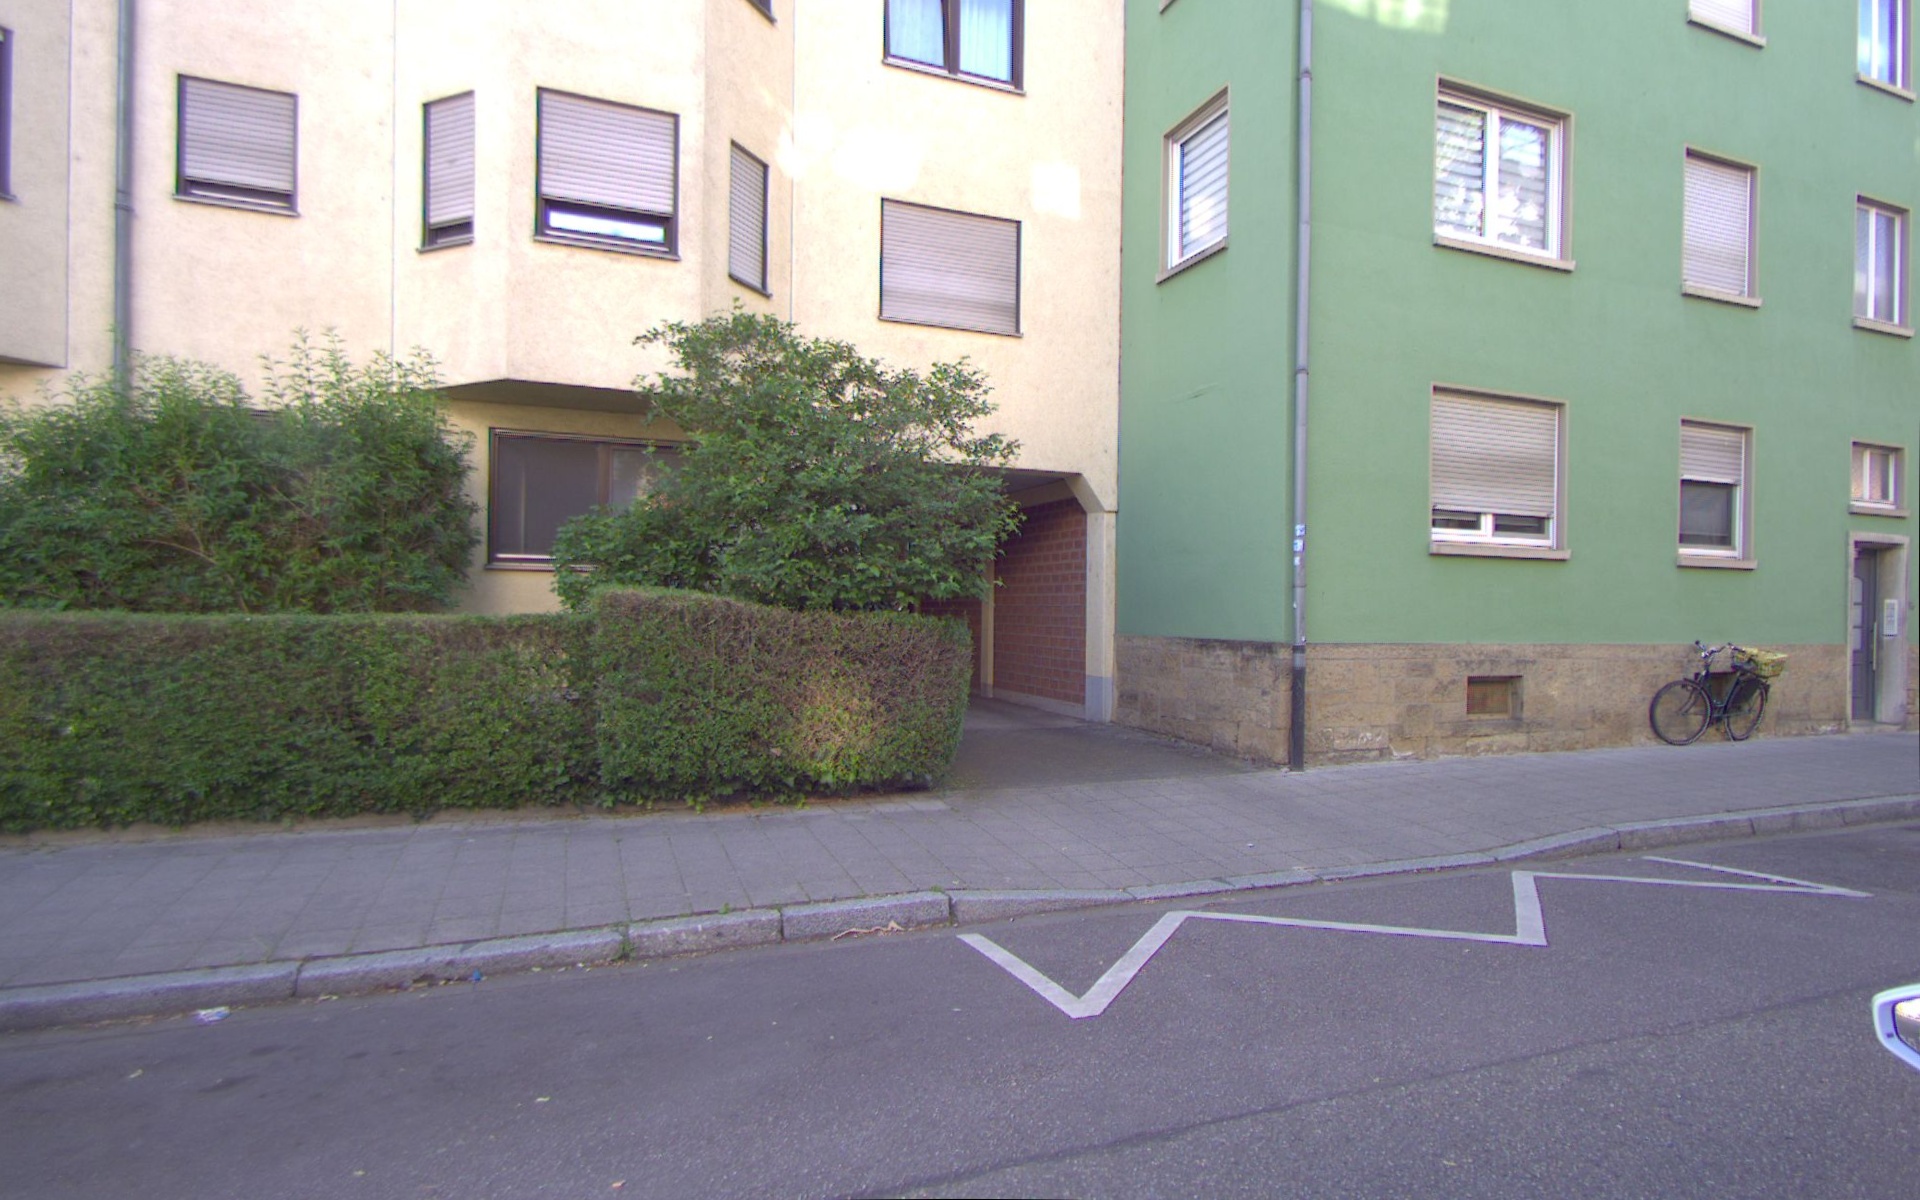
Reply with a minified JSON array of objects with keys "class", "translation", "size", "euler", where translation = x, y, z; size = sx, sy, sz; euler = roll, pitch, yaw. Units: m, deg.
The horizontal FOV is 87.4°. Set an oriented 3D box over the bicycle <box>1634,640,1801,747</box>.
[{"class":"bicycle","translation":[8.419,1.018,11.149],"size":[1.941,1.090,0.485],"euler":[1,3,-22]}]
